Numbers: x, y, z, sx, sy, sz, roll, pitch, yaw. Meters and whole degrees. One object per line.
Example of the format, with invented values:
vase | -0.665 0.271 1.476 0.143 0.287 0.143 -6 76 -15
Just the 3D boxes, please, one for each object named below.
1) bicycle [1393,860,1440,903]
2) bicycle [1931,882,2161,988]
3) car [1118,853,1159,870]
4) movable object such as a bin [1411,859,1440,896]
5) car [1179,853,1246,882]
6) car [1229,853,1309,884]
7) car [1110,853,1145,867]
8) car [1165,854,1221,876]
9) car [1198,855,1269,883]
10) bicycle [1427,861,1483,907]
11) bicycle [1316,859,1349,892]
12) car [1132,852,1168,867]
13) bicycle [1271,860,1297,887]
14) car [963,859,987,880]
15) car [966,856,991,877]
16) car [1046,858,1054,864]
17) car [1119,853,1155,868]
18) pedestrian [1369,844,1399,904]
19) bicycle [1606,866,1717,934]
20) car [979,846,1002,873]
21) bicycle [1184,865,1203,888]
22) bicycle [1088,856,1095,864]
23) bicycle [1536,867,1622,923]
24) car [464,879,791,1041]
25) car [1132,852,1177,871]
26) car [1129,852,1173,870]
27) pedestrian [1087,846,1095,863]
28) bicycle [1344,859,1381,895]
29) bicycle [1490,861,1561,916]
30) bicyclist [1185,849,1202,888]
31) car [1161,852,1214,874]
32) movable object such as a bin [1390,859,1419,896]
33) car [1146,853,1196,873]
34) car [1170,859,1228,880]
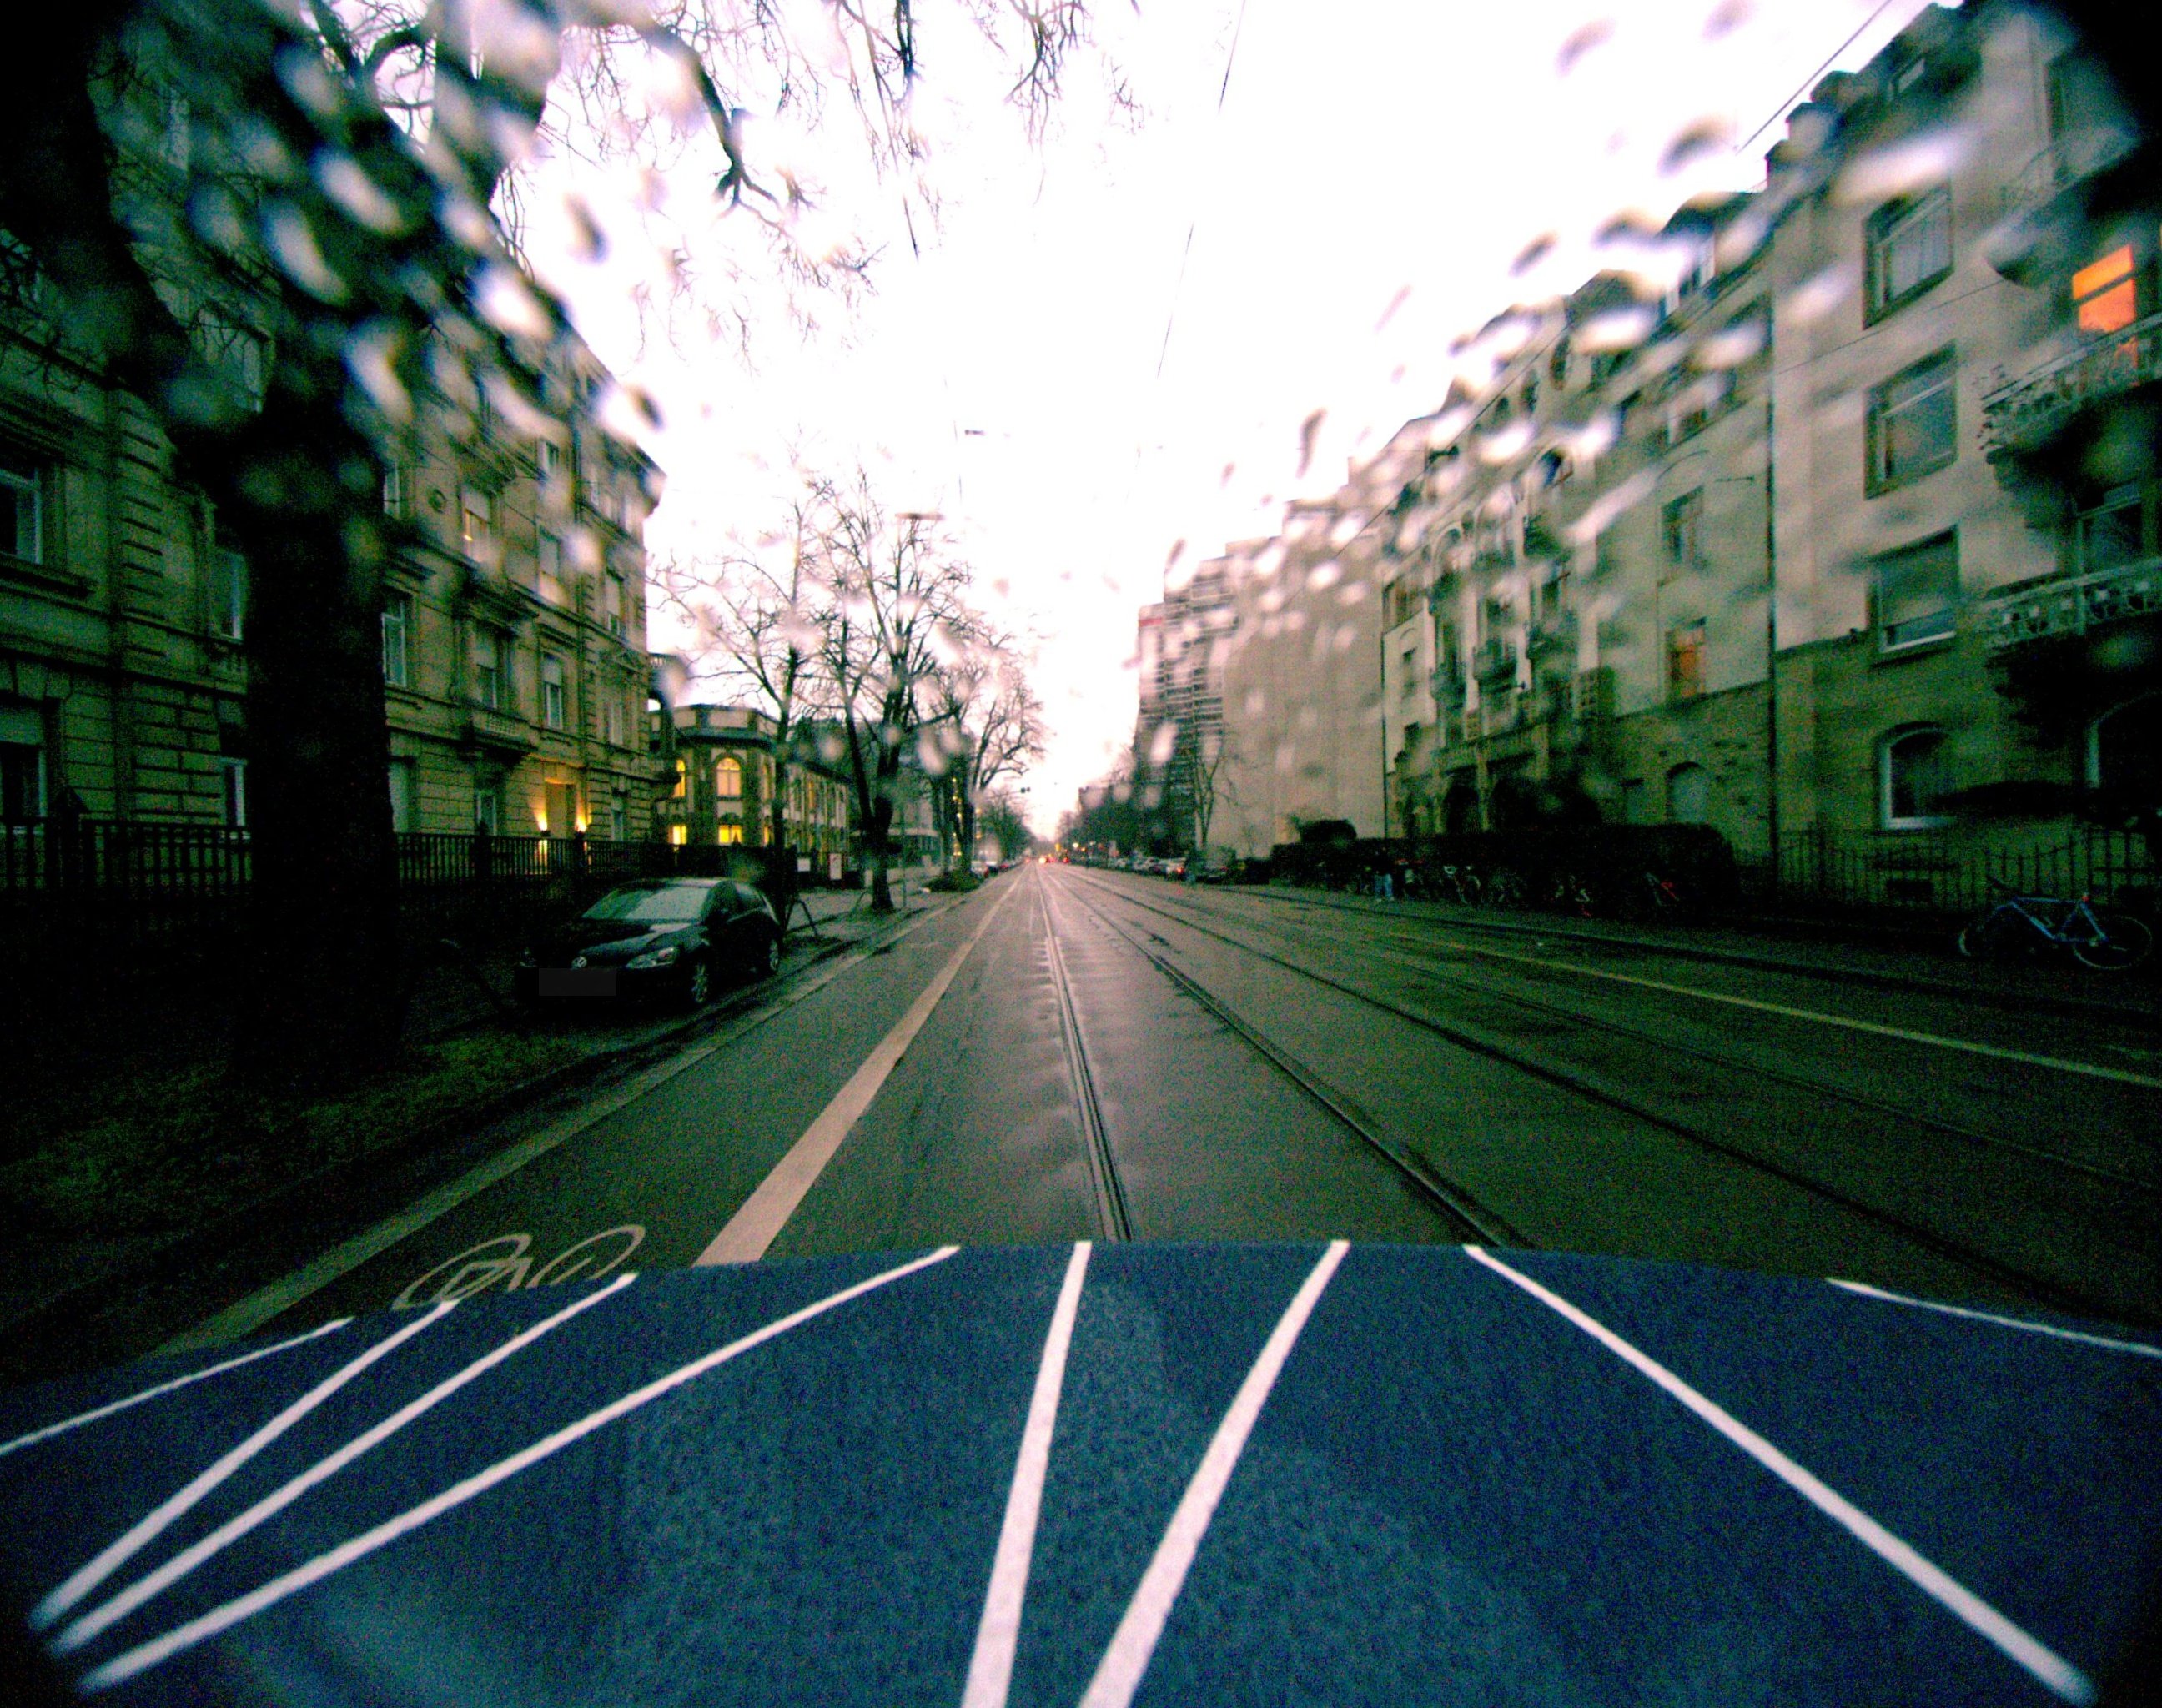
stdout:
bicycle | 9.828 0.780 22.306 0.625 1.205 1.662 -1 0 -1
bicycle | 10.716 0.844 8.460 0.625 0.997 1.662 -1 0 -1
car | 5.934 0.750 78.076 4.008 1.586 1.864 -2 0 -40
movable object such as a bin | 11.198 0.750 24.733 0.625 1.157 0.674 -1 0 -1
car | 8.018 0.801 46.218 4.008 1.586 1.864 -2 0 -40
car | 10.099 0.767 40.845 4.006 1.485 1.864 -2 0 -32
car | 5.655 0.688 91.468 4.008 1.586 1.864 -2 0 -40
car | 8.325 0.810 56.430 4.008 1.440 1.864 -2 0 -40
car | 8.681 0.828 43.094 4.008 1.477 1.760 -2 0 -40
bicycle | 9.958 0.781 20.290 0.625 1.157 1.662 -1 0 -1
bicycle | 9.470 0.799 28.654 0.625 1.205 1.662 -1 0 -1
car | 7.962 0.652 87.377 4.008 1.586 1.864 -2 0 -40
bicycle | 9.045 0.847 33.902 0.625 1.157 1.662 -2 0 -1
car | -7.931 1.120 57.165 1.628 1.399 3.997 -2 1 -6
car | -9.032 1.102 67.128 2.000 1.672 3.997 -2 1 -6
car | -10.411 2.248 253.181 2.239 2.002 4.458 -2 1 -5
car | 6.598 0.776 89.312 4.008 1.586 1.864 -2 0 -40
pedestrian | 8.876 0.577 22.276 0.574 1.715 0.644 -3 2 1
bicycle | 10.458 0.799 13.774 0.625 1.119 1.783 -1 0 -1
car | -9.186 0.514 77.255 2.094 2.622 5.446 -2 1 -6
bicycle | 5.611 1.109 37.852 0.625 1.086 1.947 -1 0 -1
bicycle | 1.321 0.720 99.365 0.858 0.986 1.918 -2 1 1
bicycle | 10.310 0.823 15.810 0.625 1.059 1.726 -1 0 -1
car | -5.115 1.085 9.344 1.763 1.437 4.156 1 -1 -4
car | 6.752 0.695 69.589 4.008 1.586 1.864 -2 0 -40
car | 6.732 0.671 73.018 4.008 1.586 1.864 -2 0 -40
pedestrian | 1.301 0.068 99.349 0.952 2.246 1.119 -2 1 2
bicycle | 9.768 0.784 26.397 0.625 1.205 1.662 -1 0 -1
bicycle | 10.238 0.767 17.557 0.625 1.205 1.662 -1 0 -1
bicyclist | 5.591 0.716 37.768 0.625 1.865 0.991 -1 0 -1
car | 8.469 0.728 60.292 4.008 1.586 1.864 -2 0 -40
movable object such as a bin | 10.523 0.756 24.733 0.659 1.157 0.674 -1 0 -1
car | 7.488 0.724 63.209 4.008 1.586 1.864 -2 0 -40
car | 7.672 0.969 49.192 3.673 1.245 1.707 0 0 -41
